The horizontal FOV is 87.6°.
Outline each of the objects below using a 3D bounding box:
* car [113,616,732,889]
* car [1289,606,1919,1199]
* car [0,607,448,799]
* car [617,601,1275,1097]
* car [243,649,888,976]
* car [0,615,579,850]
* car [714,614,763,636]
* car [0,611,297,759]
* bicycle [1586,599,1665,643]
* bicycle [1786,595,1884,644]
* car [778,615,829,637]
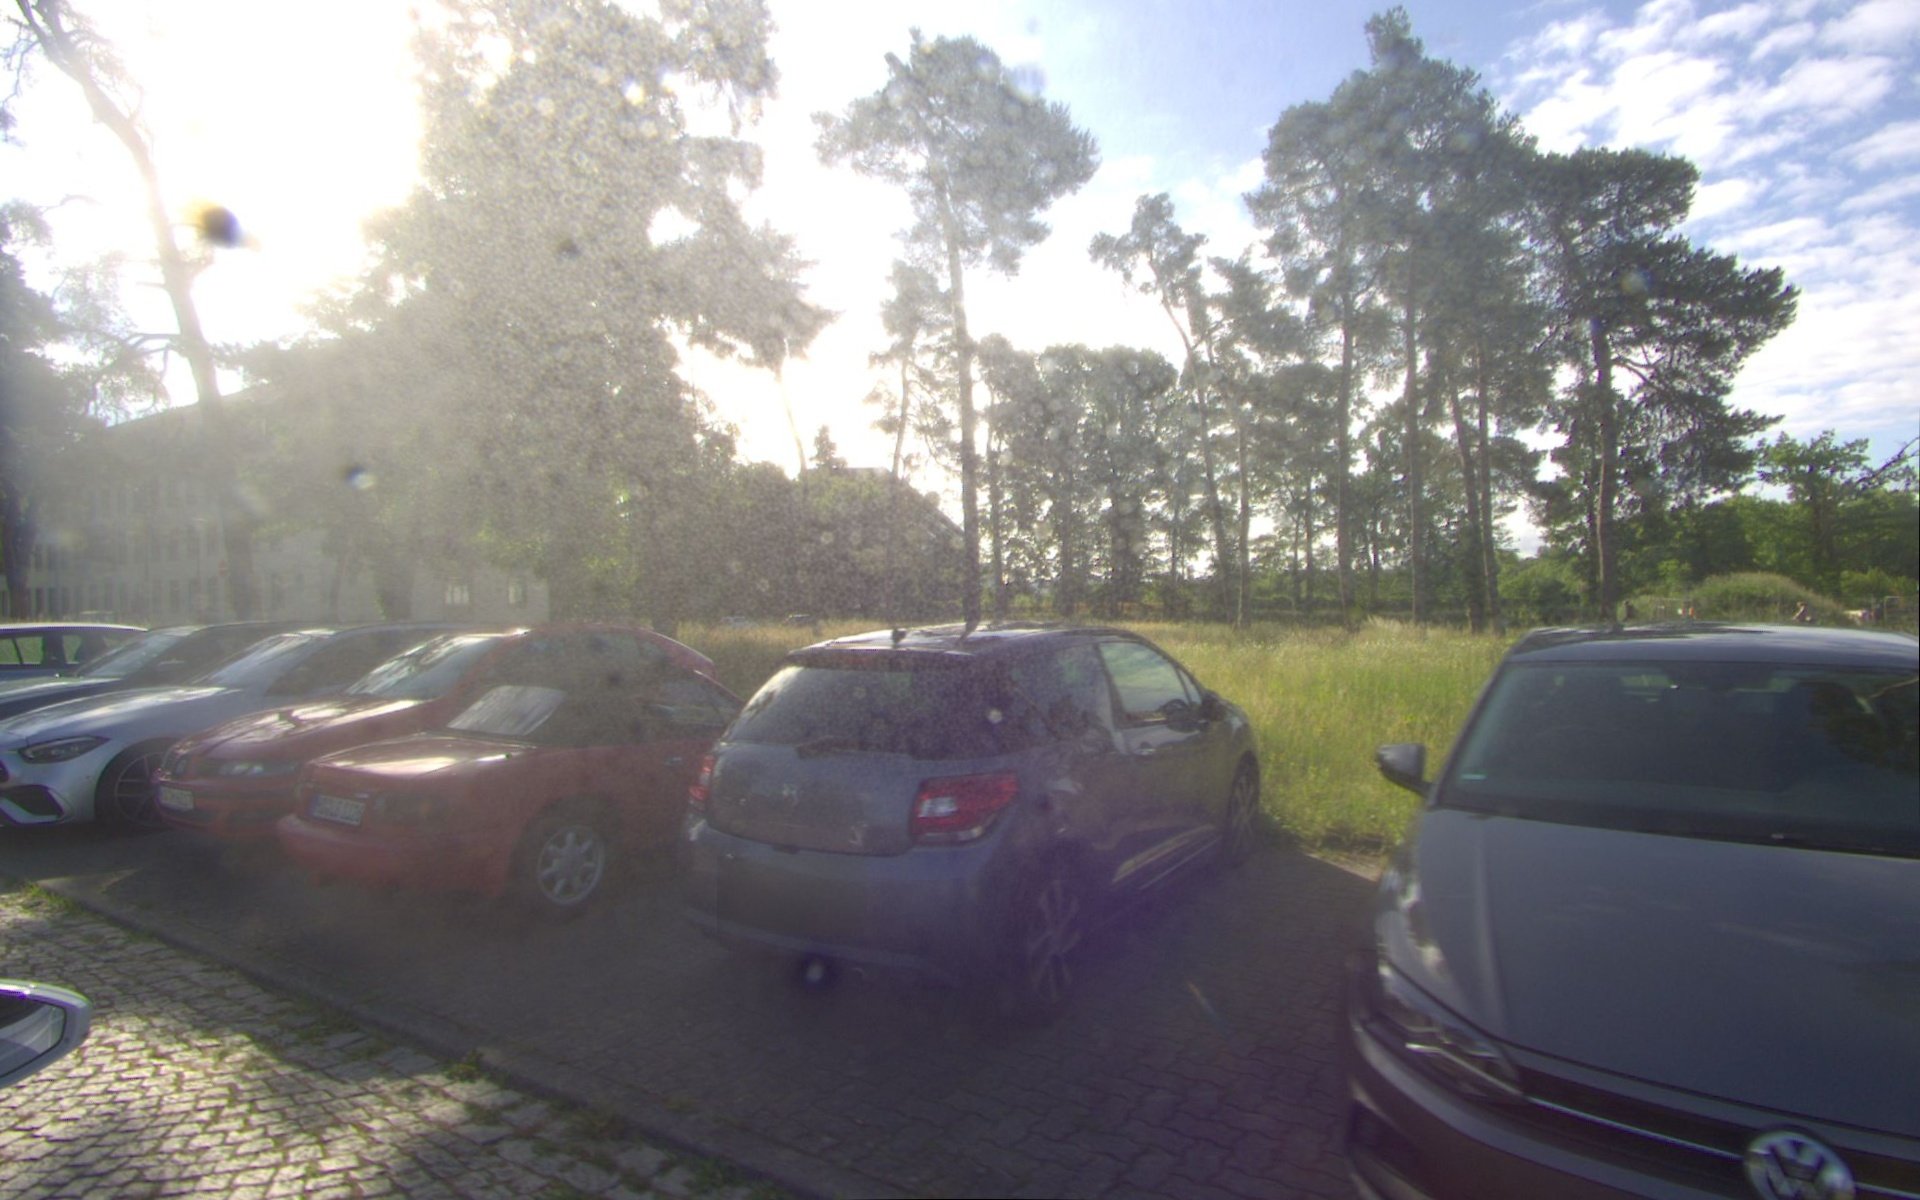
[{"bbox_3d":[-3.793,0.903,7.805,1.631,1.468,3.971,-1,0,31],"label":"car"},{"bbox_3d":[2.439,0.797,3.162,1.733,1.470,3.770,-1,1,34],"label":"car"},{"bbox_3d":[-8.039,0.898,10.347,1.842,1.475,4.611,0,2,30],"label":"car"},{"bbox_3d":[0.301,0.794,5.125,1.643,1.474,3.654,-1,1,32],"label":"car"},{"bbox_3d":[-2.073,0.992,6.113,1.515,1.258,3.454,-1,-1,32],"label":"car"},{"bbox_3d":[-5.792,0.895,8.831,1.763,1.407,4.391,-1,1,31],"label":"car"},{"bbox_3d":[-17.426,1.956,78.896,1.743,1.693,3.626,-1,-1,34],"label":"car"},{"bbox_3d":[-10.176,0.919,11.721,1.641,1.462,3.665,-1,1,32],"label":"car"},{"bbox_3d":[32.510,1.057,48.985,3.086,2.039,0.949,-3,-1,32],"label":"bicycle"},{"bbox_3d":[38.547,0.867,44.185,3.086,2.039,0.949,-3,-1,32],"label":"bicycle"},{"bbox_3d":[-11.566,1.921,74.271,1.743,1.517,3.626,-1,-1,34],"label":"car"}]
